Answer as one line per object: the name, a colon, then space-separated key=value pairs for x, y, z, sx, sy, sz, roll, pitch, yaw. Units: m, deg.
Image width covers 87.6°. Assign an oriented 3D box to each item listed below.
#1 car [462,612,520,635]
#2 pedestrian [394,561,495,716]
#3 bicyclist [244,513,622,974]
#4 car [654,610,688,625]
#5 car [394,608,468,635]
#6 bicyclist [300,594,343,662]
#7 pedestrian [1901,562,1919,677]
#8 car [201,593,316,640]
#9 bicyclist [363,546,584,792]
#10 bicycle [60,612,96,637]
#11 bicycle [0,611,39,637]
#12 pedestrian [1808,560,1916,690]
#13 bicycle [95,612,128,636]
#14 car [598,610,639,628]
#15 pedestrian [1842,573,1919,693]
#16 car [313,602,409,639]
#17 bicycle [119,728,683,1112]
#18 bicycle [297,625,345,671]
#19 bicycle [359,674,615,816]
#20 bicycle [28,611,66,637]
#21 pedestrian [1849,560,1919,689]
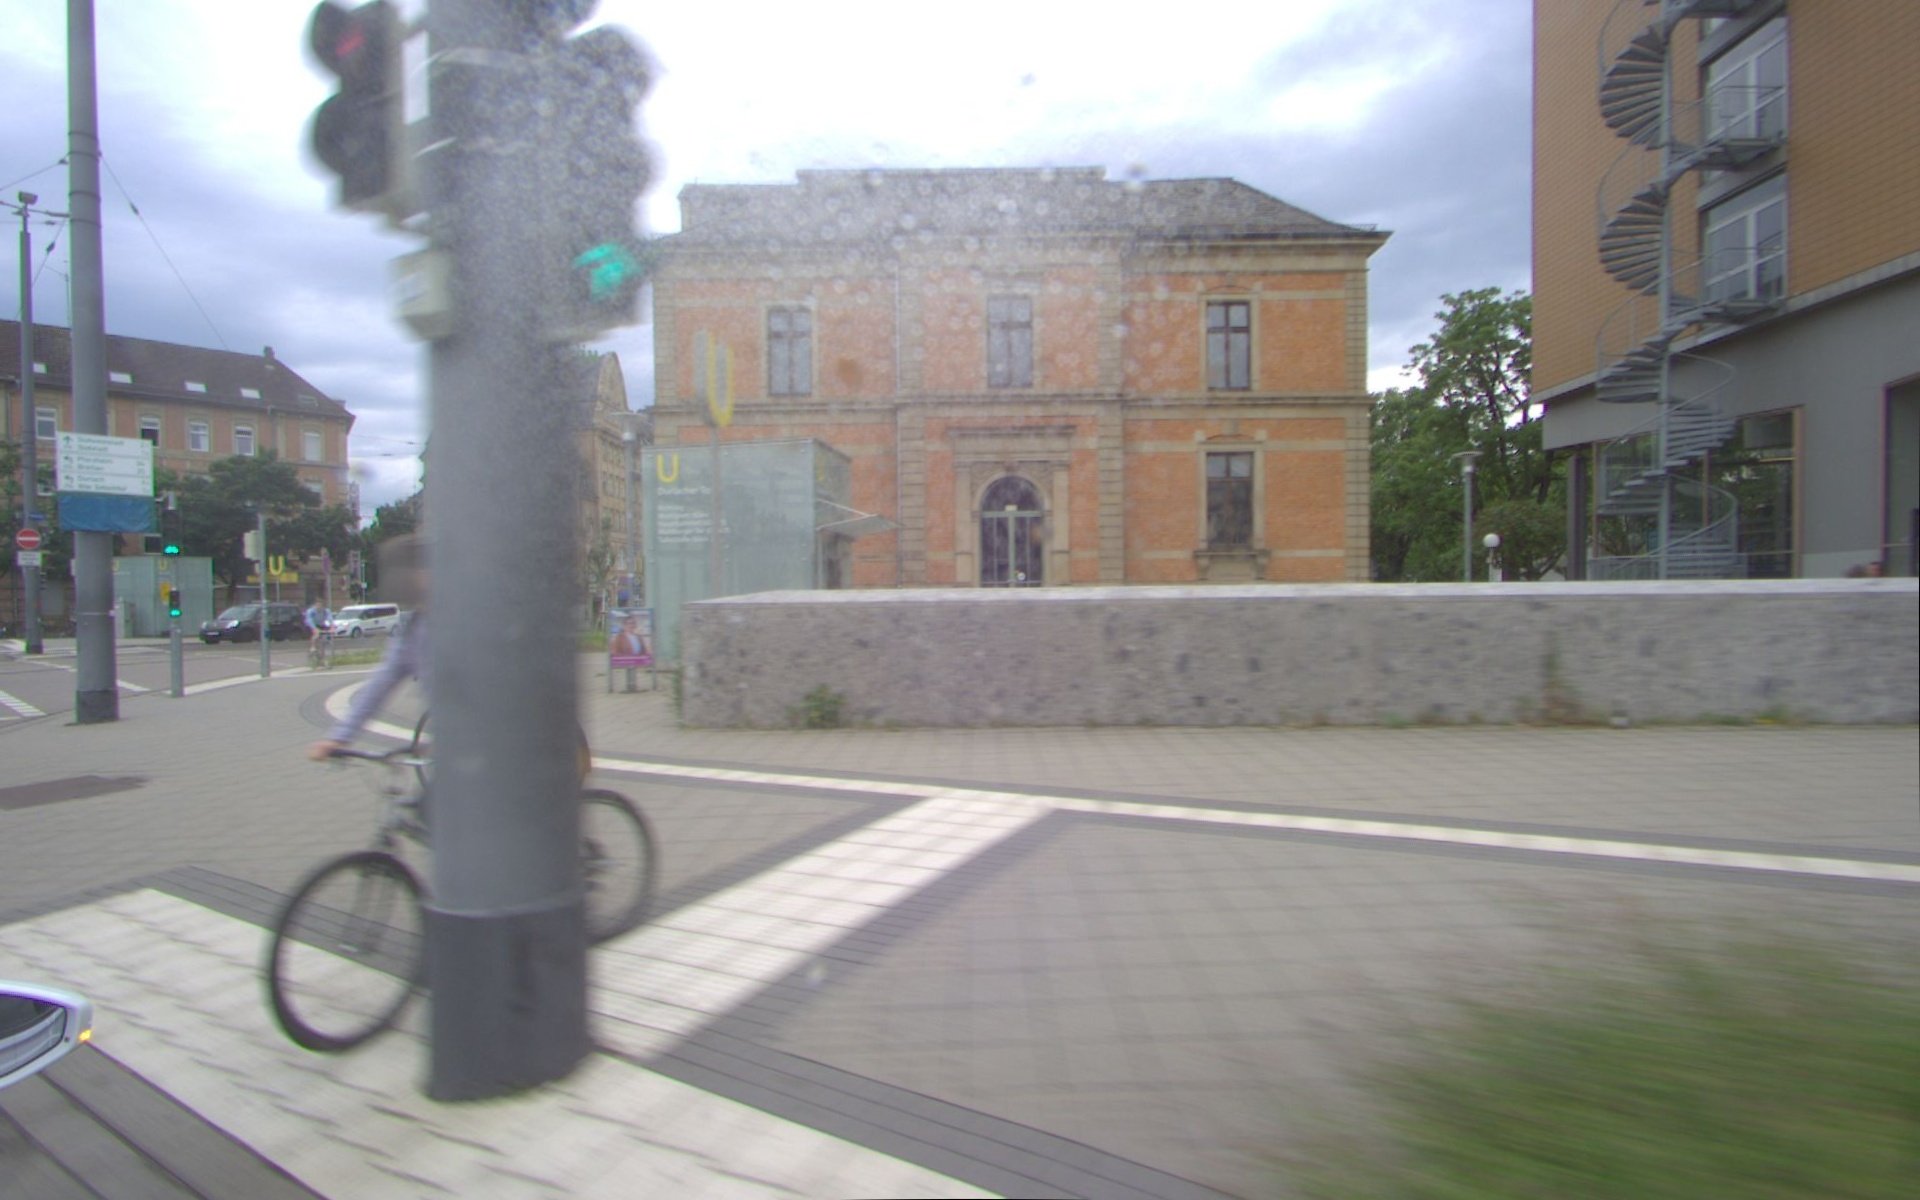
car: x=-31.699 y=1.545 z=67.735 sx=1.833 sy=1.417 sz=3.895 roll=-2 pitch=-1 yaw=4
pedestrian: x=-6.713 y=0.481 z=13.014 sx=0.878 sy=1.892 sz=1.275 roll=-1 pitch=0 yaw=-41
bicyclist: x=-2.045 y=0.488 z=4.003 sx=0.748 sy=1.541 sz=1.097 roll=0 pitch=0 yaw=26
car: x=-28.283 y=1.734 z=98.178 sx=1.895 sy=1.398 sz=4.258 roll=0 pitch=0 yaw=4
car: x=-32.236 y=1.286 z=61.159 sx=1.833 sy=1.554 sz=4.302 roll=-2 pitch=-1 yaw=6
bicyclist: x=-15.455 y=0.669 z=24.252 sx=0.682 sy=1.582 sz=0.922 roll=-2 pitch=3 yaw=-25
pedestrian: x=14.183 y=0.279 z=14.301 sx=0.710 sy=1.653 sz=0.874 roll=0 pitch=0 yaw=7
car: x=-30.357 y=0.691 z=43.504 sx=1.661 sy=1.925 sz=4.386 roll=0 pitch=-1 yaw=5
bicyclist: x=-3.557 y=0.469 z=7.341 sx=1.301 sy=1.642 sz=0.826 roll=0 pitch=0 yaw=27
bicycle: x=-49.914 y=1.369 z=56.697 sx=0.947 sy=1.371 sz=3.104 roll=1 pitch=-1 yaw=-31
bicycle: x=-51.848 y=1.327 z=55.190 sx=0.947 sy=1.371 sz=3.104 roll=1 pitch=-1 yaw=-31
pedestrian: x=12.588 y=0.342 z=13.996 sx=0.710 sy=1.753 sz=0.873 roll=-1 pitch=0 yaw=-8
bicycle: x=-49.018 y=1.400 z=57.861 sx=0.947 sy=1.371 sz=3.104 roll=1 pitch=-1 yaw=-31
car: x=-27.642 y=1.517 z=81.069 sx=1.661 sy=1.461 sz=4.000 roll=0 pitch=-1 yaw=5
pedestrian: x=13.260 y=0.457 z=14.235 sx=0.710 sy=1.653 sz=0.874 roll=0 pitch=0 yaw=7
car: x=-32.801 y=1.105 z=55.035 sx=1.833 sy=1.941 sz=5.100 roll=0 pitch=0 yaw=6
bicycle: x=-2.020 y=1.076 z=3.954 sx=0.755 sy=0.851 sz=1.819 roll=0 pitch=2 yaw=26
bicycle: x=-15.452 y=1.138 z=24.250 sx=0.662 sy=0.946 sz=1.852 roll=-3 pitch=2 yaw=-24
bicycle: x=-3.488 y=1.010 z=7.327 sx=2.040 sy=0.860 sz=0.556 roll=-1 pitch=0 yaw=27
bicycle: x=-50.933 y=1.347 z=55.891 sx=0.947 sy=1.371 sz=3.104 roll=1 pitch=-1 yaw=-31
pedestrian: x=13.346 y=0.337 z=14.193 sx=0.710 sy=1.766 sz=0.873 roll=-1 pitch=0 yaw=-8
